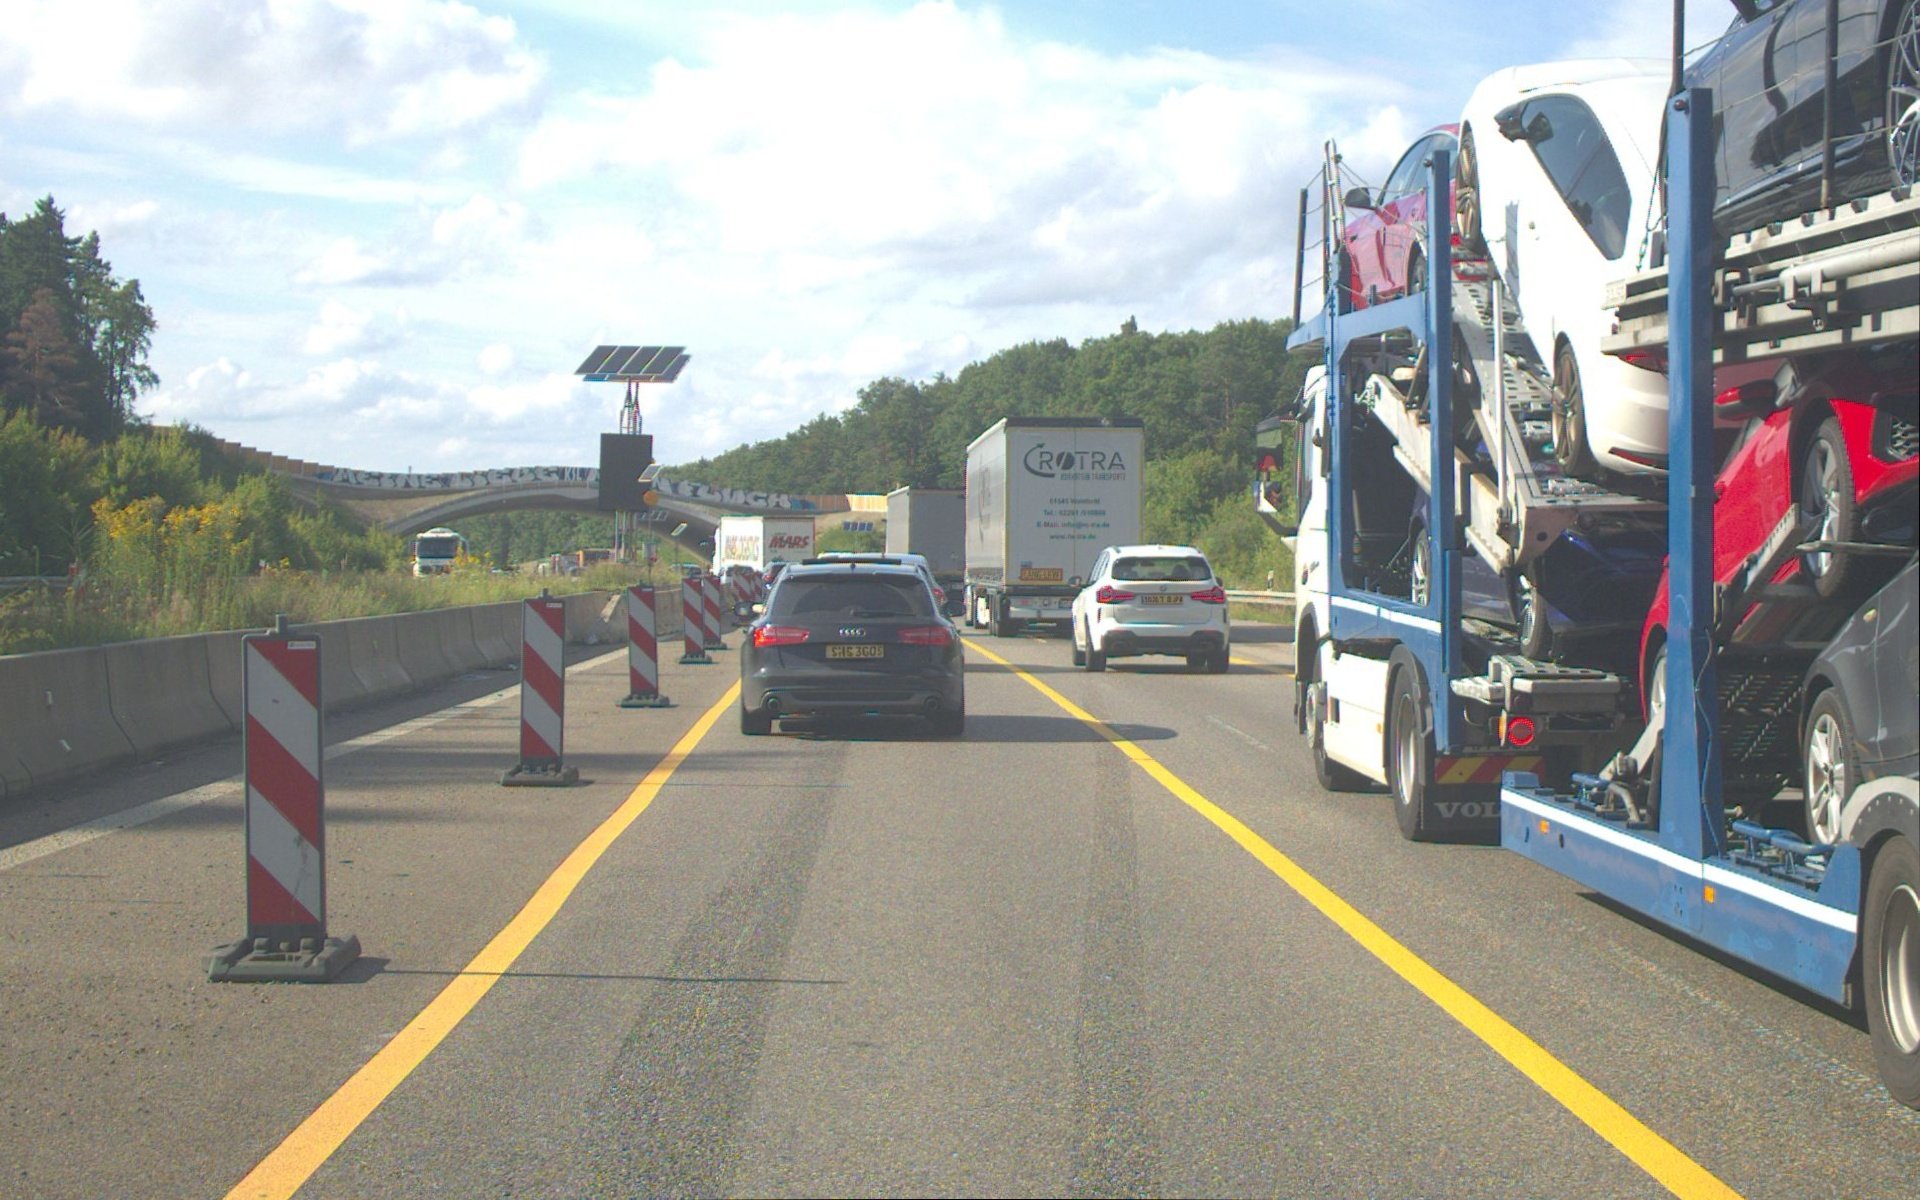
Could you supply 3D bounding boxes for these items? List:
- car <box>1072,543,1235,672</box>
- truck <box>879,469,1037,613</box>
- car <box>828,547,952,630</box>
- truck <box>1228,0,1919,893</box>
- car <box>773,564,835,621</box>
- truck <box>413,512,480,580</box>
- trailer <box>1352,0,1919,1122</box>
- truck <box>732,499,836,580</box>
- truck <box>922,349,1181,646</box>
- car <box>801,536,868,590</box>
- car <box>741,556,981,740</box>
[{"bbox_3d":[2.555,0.084,46.219,1.890,1.638,4.018,1,0,-1],"label":"car"},{"bbox_3d":[-0.191,-1.949,116.082,4.318,4.584,11.126,1,0,-5],"label":"truck"},{"bbox_3d":[-1.307,-0.219,62.621,1.890,1.441,4.001,1,0,-6],"label":"car"},{"bbox_3d":[3.886,-0.833,19.173,3.761,4.182,7.952,1,0,-3],"label":"truck"},{"bbox_3d":[-5.699,-0.278,125.242,1.993,2.007,4.001,1,0,-6],"label":"car"},{"bbox_3d":[-26.949,-2.819,180.570,2.785,3.478,4.939,1,0,-1],"label":"truck"},{"bbox_3d":[4.289,-0.746,10.837,3.726,4.182,16.228,1,0,-2],"label":"trailer"},{"bbox_3d":[-8.922,-2.993,172.841,3.653,3.915,11.070,1,0,-11],"label":"truck"},{"bbox_3d":[1.572,-1.930,70.550,3.677,5.335,16.203,1,0,-4],"label":"truck"},{"bbox_3d":[-3.959,-1.159,108.259,1.890,1.638,4.018,1,0,-5],"label":"car"},{"bbox_3d":[-0.816,0.365,29.338,1.890,1.441,4.000,1,0,-1],"label":"car"}]
